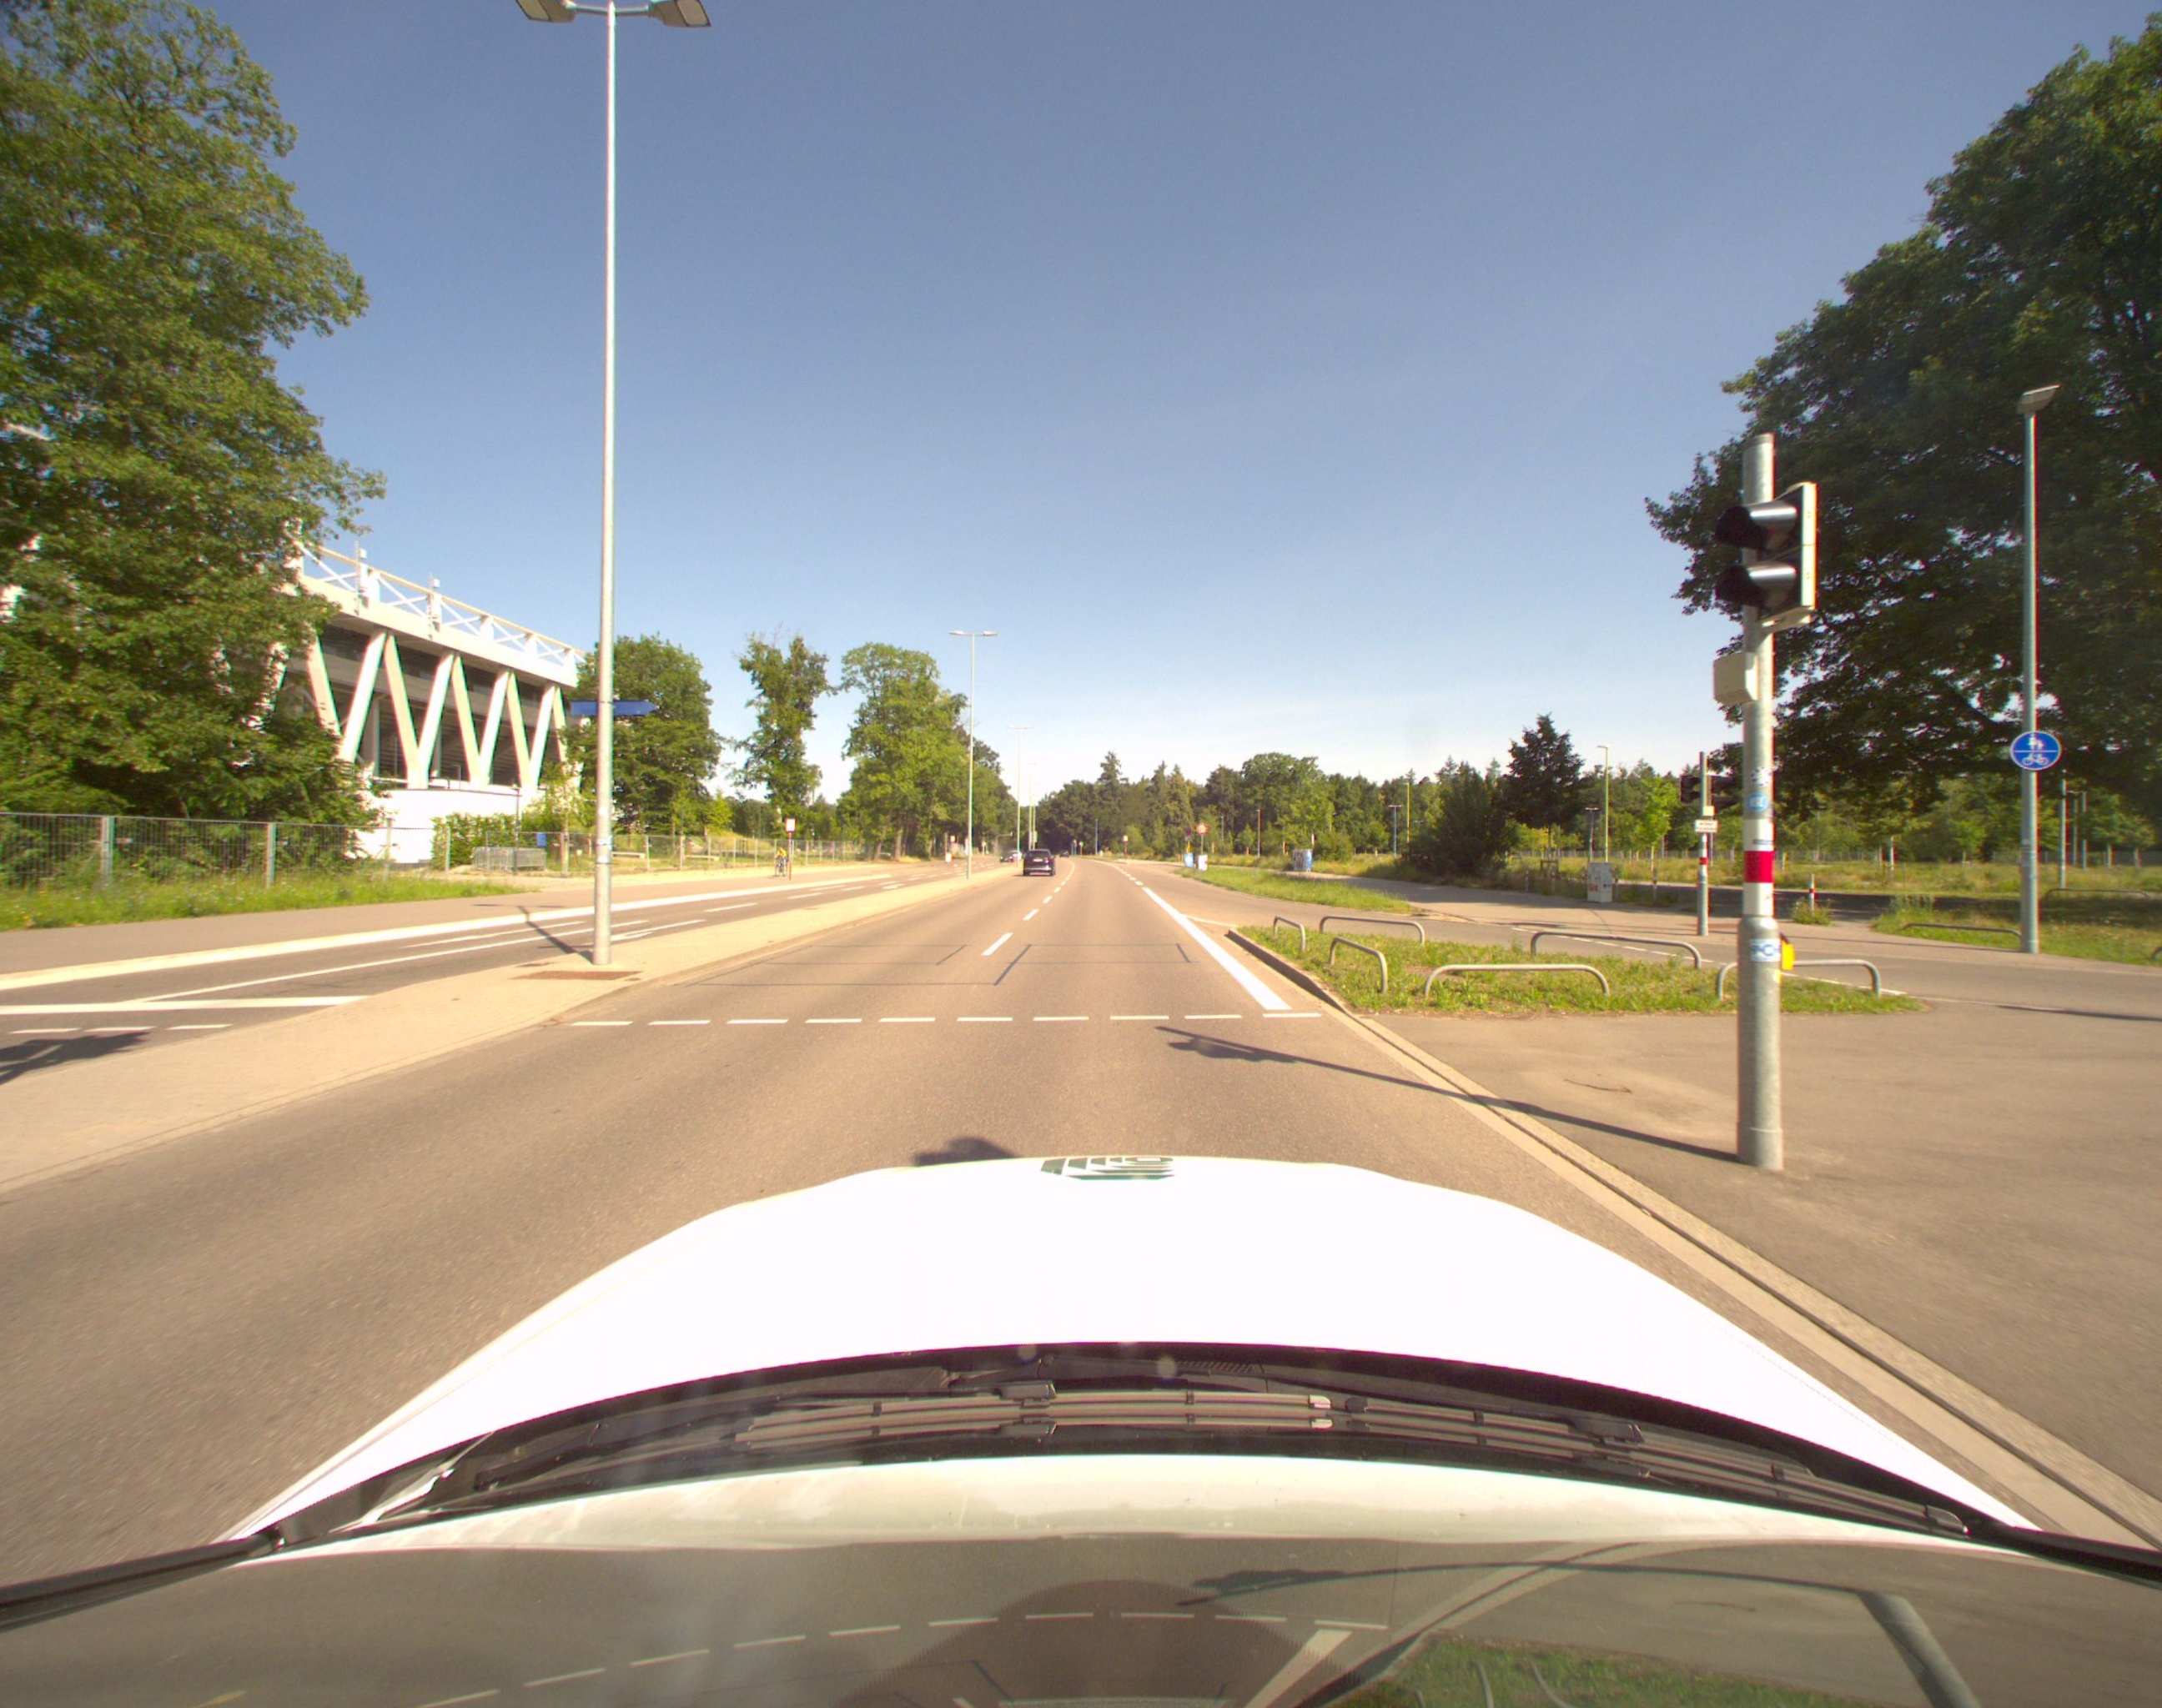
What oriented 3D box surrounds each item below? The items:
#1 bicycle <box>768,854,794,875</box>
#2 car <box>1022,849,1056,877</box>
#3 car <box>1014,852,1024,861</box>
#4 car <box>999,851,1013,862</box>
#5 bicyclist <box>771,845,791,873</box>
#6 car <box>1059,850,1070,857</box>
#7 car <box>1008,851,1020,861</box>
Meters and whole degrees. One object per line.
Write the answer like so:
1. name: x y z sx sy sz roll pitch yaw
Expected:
1. bicycle: -16.543 0.569 44.923 0.657 1.135 1.879 2 1 1
2. car: -2.494 0.499 48.868 1.681 1.544 4.150 -1 1 2
3. car: -11.108 0.474 145.264 1.750 1.486 3.941 -2 0 -4
4. car: -10.061 0.389 110.101 1.808 1.388 4.154 -2 0 -5
5. bicyclist: -16.536 0.272 44.956 0.657 1.467 1.057 2 0 1
6. car: -3.244 -0.142 159.759 1.937 1.420 4.287 0 1 -4
7. car: -10.453 0.374 126.398 1.619 1.466 3.797 -2 0 -2
